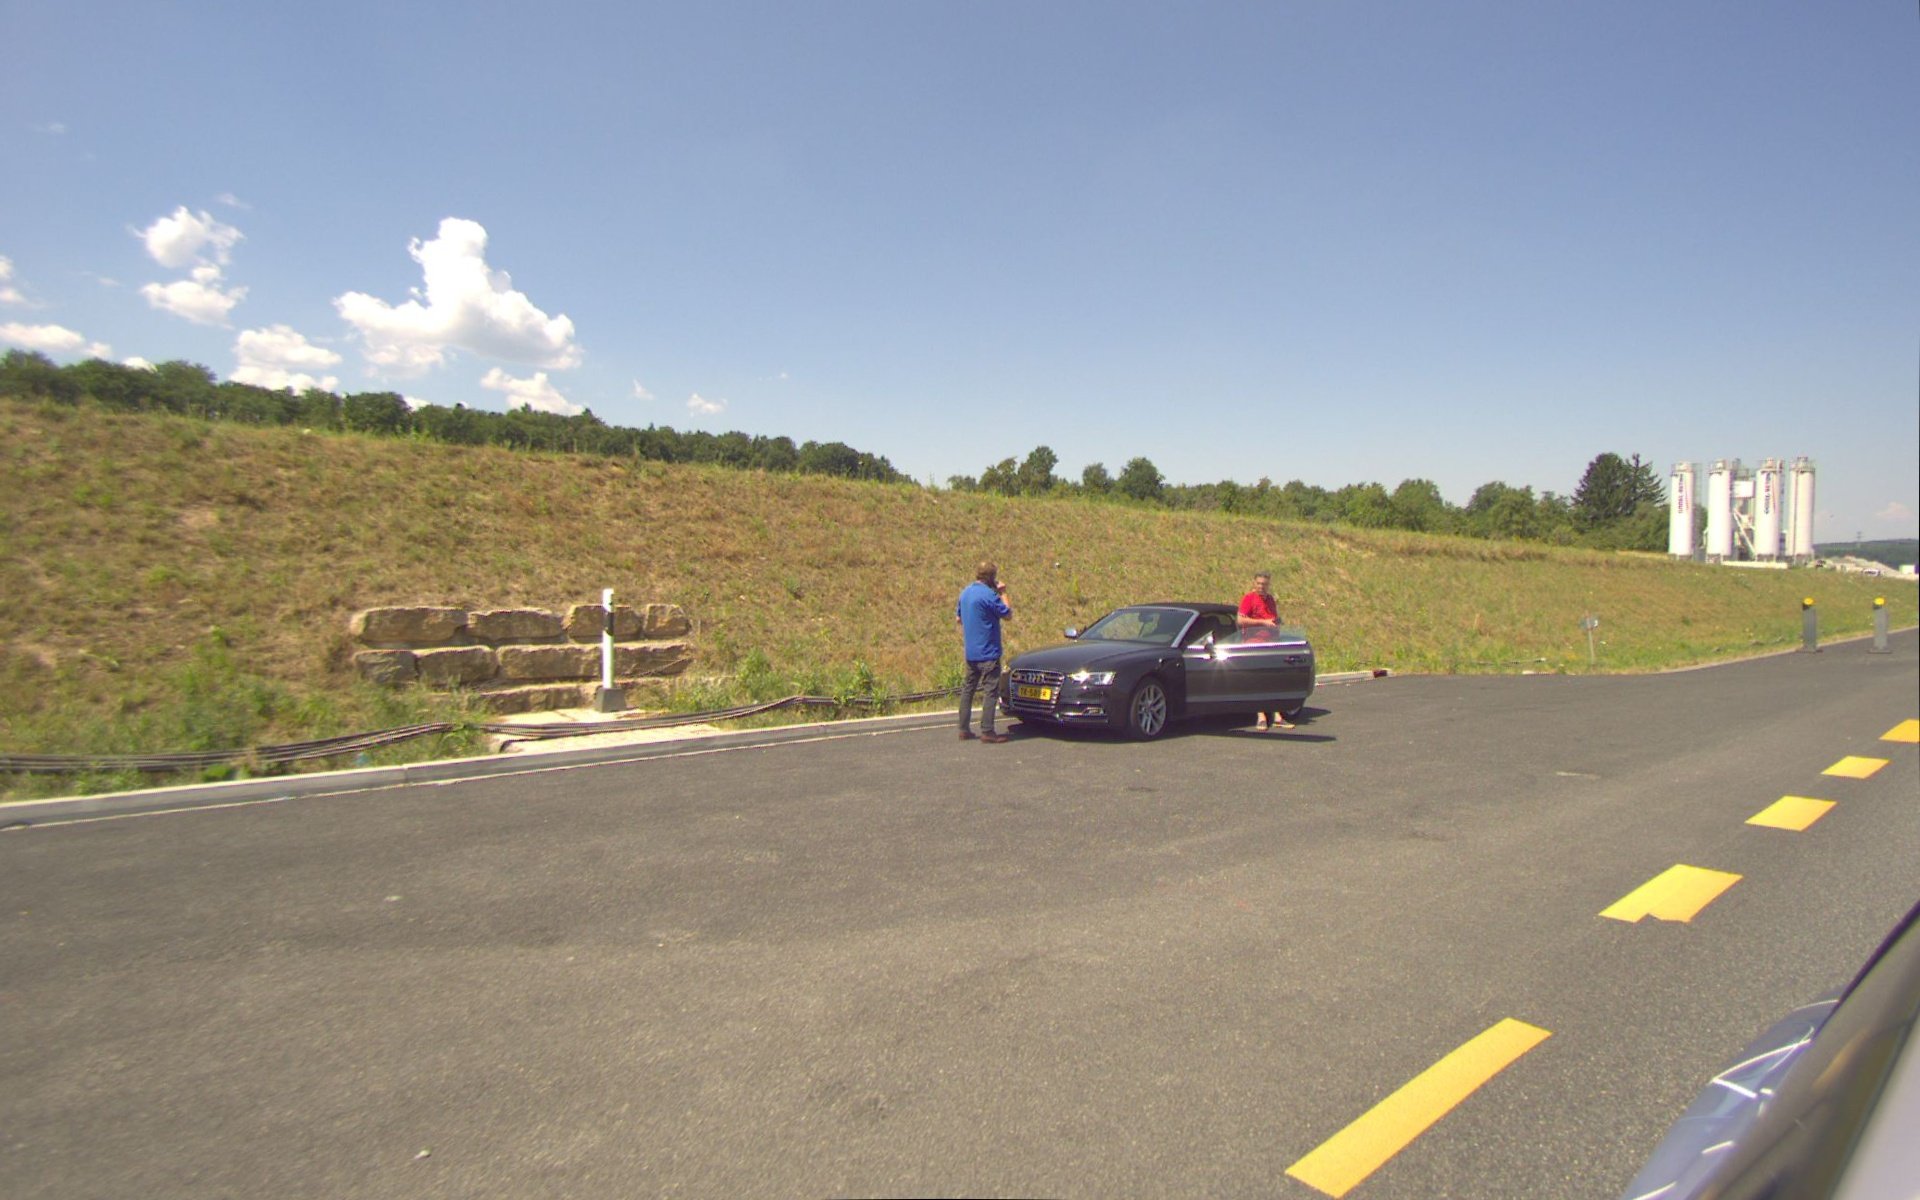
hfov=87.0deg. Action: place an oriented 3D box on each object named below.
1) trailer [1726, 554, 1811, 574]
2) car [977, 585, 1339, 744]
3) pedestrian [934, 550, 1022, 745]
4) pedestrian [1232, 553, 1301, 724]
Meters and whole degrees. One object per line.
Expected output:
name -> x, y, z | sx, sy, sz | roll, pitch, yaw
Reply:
trailer -> 110.500, -4.862, 138.481 | 2.424, 2.639, 8.902 | -1, 2, -44
car -> 2.430, 0.601, 11.671 | 4.465, 1.444, 1.658 | 0, 3, -41
pedestrian -> 0.178, 0.450, 10.086 | 0.623, 1.851, 0.634 | -1, -1, 38
pedestrian -> 3.439, 0.418, 11.343 | 0.636, 1.851, 0.553 | -1, -1, 29
